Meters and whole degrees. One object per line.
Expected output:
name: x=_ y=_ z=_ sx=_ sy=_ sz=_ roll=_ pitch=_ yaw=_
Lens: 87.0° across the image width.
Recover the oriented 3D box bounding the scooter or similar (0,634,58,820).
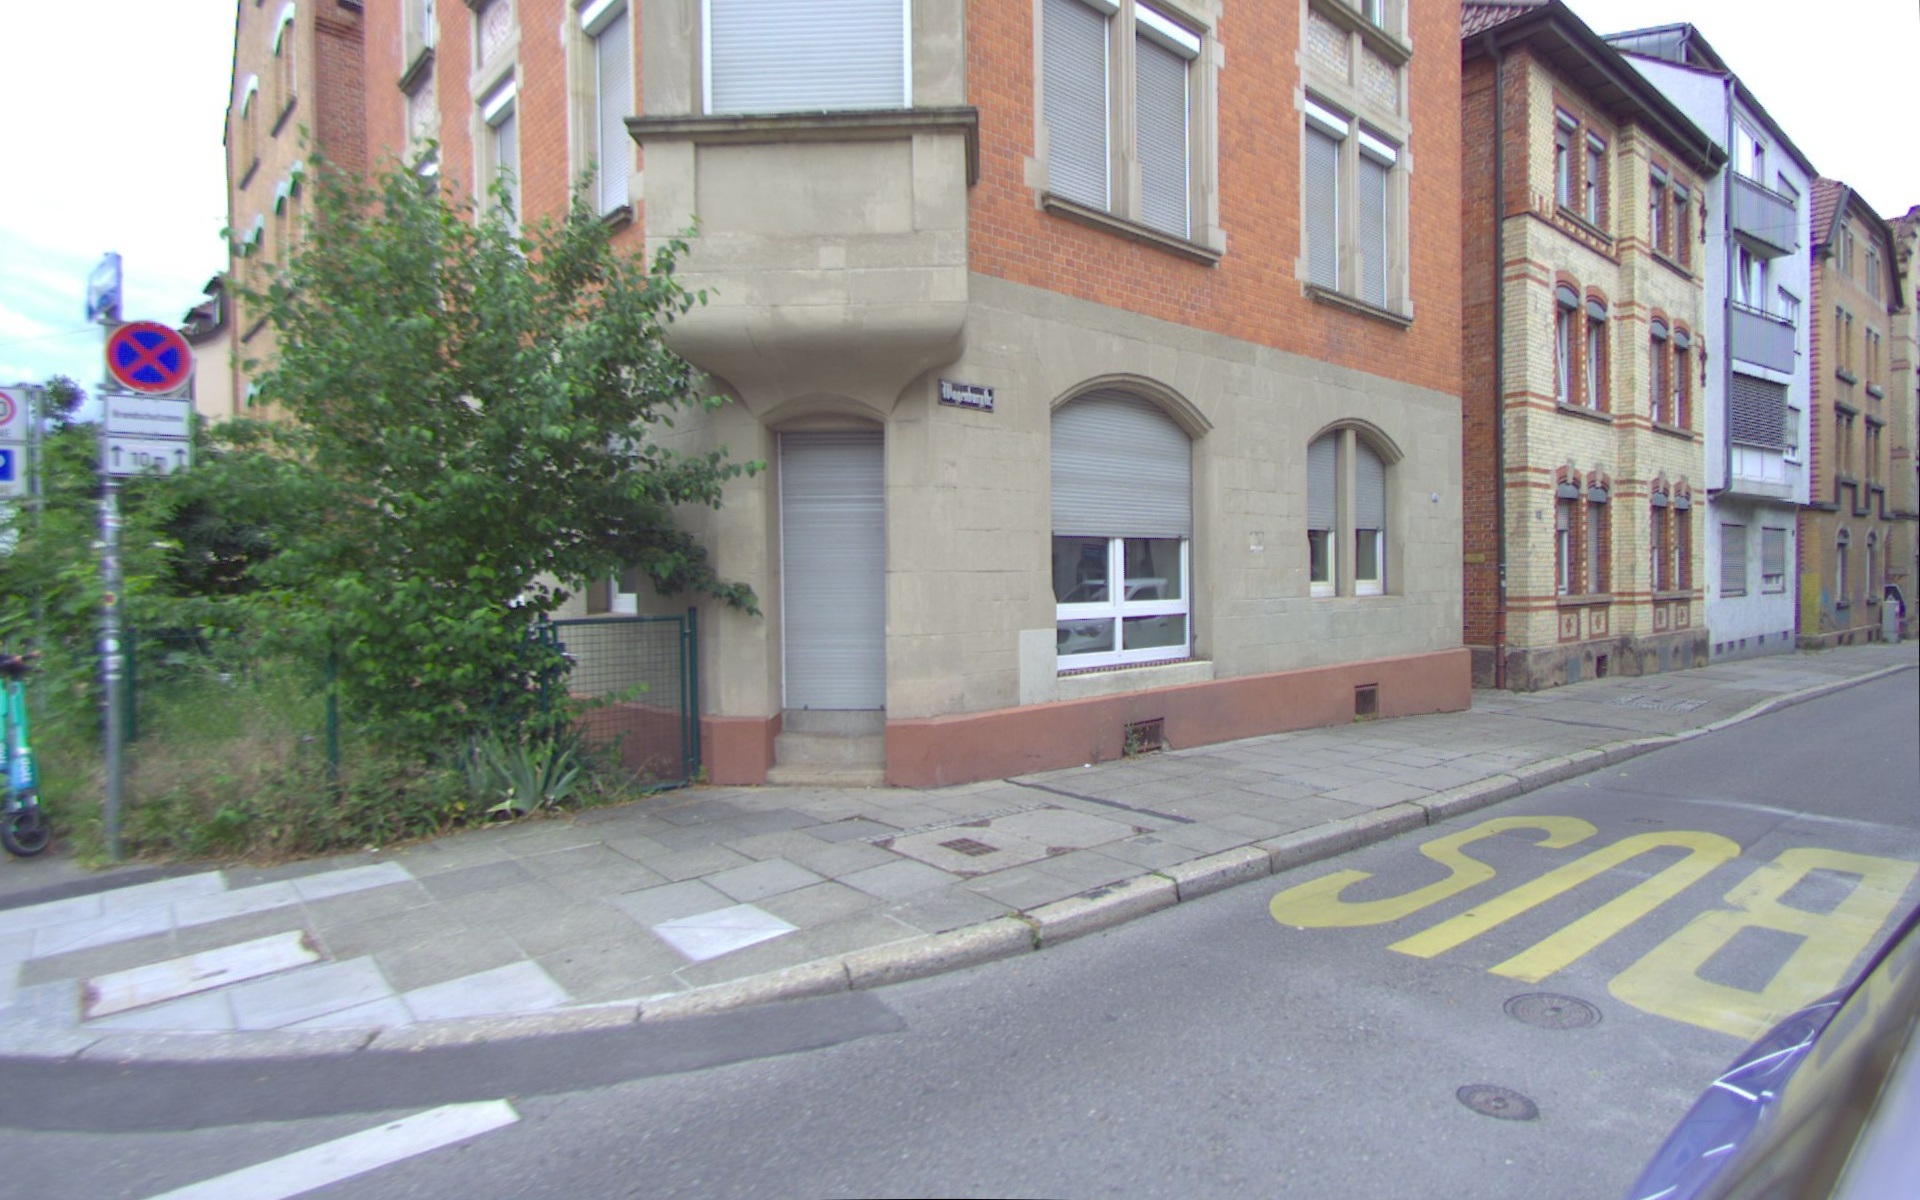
scooter or similar: x=-7.107 y=0.938 z=7.622 sx=0.408 sy=1.287 sz=1.086 roll=-4 pitch=-2 yaw=-42

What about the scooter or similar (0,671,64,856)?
scooter or similar: x=-6.005 y=1.001 z=6.464 sx=0.408 sy=1.029 sz=1.236 roll=-1 pitch=-1 yaw=-42
